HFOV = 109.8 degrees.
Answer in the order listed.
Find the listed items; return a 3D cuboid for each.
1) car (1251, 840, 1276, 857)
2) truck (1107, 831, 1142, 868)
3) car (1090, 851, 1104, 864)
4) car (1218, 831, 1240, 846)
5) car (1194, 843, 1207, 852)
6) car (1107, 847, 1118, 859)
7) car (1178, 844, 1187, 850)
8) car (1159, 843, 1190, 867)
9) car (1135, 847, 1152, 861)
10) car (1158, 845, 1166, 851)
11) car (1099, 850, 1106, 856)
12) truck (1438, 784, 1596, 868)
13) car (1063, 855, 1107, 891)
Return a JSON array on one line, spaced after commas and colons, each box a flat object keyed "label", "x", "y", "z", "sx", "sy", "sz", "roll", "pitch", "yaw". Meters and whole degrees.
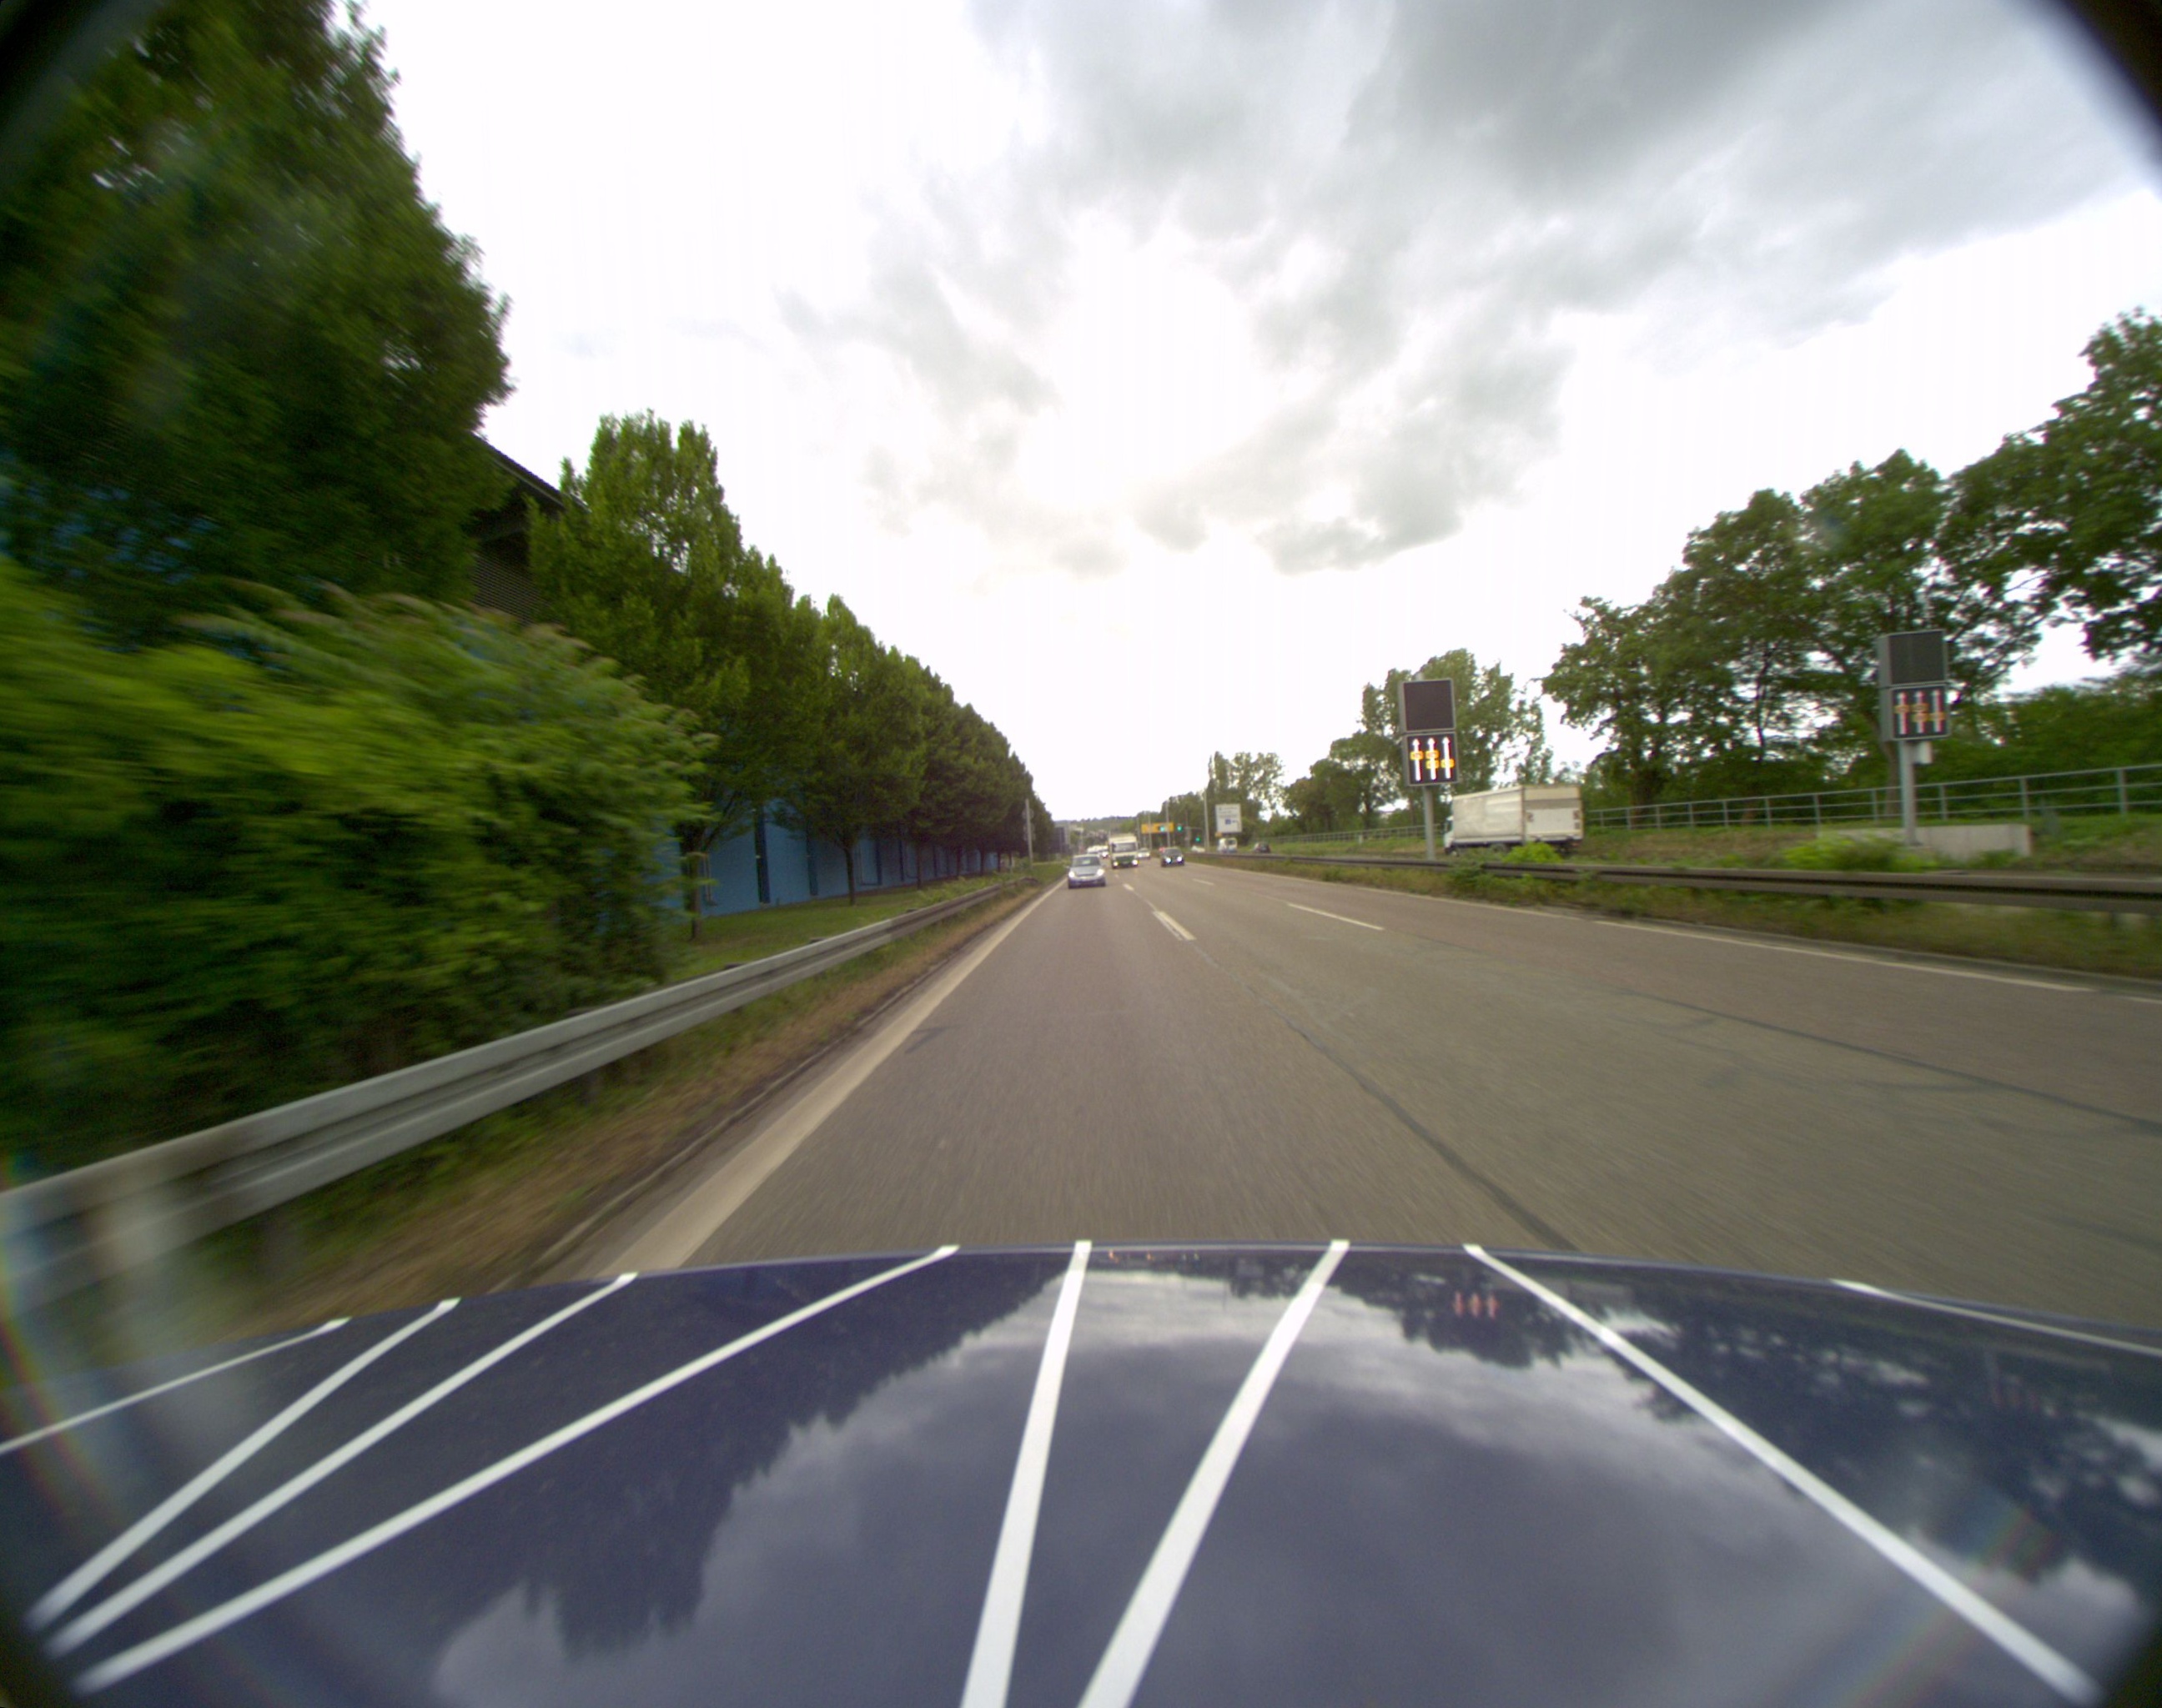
[{"label": "car", "x": 20.343, "y": -0.626, "z": 84.911, "sx": 1.883, "sy": 1.714, "sz": 4.147, "roll": -4, "pitch": 0, "yaw": 3}, {"label": "truck", "x": 4.113, "y": -0.370, "z": 74.414, "sx": 2.657, "sy": 3.121, "sz": 12.509, "roll": -4, "pitch": 0, "yaw": 1}, {"label": "car", "x": 2.313, "y": 0.549, "z": 111.321, "sx": 1.883, "sy": 1.714, "sz": 4.146, "roll": -4, "pitch": 0, "yaw": 0}, {"label": "car", "x": 21.040, "y": -2.120, "z": 107.863, "sx": 2.231, "sy": 1.936, "sz": 5.474, "roll": -4, "pitch": 0, "yaw": 3}, {"label": "car", "x": 21.115, "y": -1.140, "z": 134.720, "sx": 1.663, "sy": 1.390, "sz": 3.989, "roll": -3, "pitch": 0, "yaw": 1}, {"label": "car", "x": 6.403, "y": -0.230, "z": 156.101, "sx": 1.949, "sy": 2.176, "sz": 4.000, "roll": -4, "pitch": 0, "yaw": 0}, {"label": "car", "x": 26.626, "y": -1.773, "z": 198.737, "sx": 1.664, "sy": 1.291, "sz": 4.788, "roll": -4, "pitch": 0, "yaw": 0}, {"label": "car", "x": 7.491, "y": 0.090, "z": 61.380, "sx": 1.883, "sy": 1.714, "sz": 4.146, "roll": -4, "pitch": 0, "yaw": 0}, {"label": "car", "x": 8.334, "y": 0.023, "z": 101.415, "sx": 1.883, "sy": 1.714, "sz": 4.146, "roll": -4, "pitch": 0, "yaw": 0}, {"label": "car", "x": 21.325, "y": -1.589, "z": 199.909, "sx": 1.664, "sy": 1.291, "sz": 4.788, "roll": -4, "pitch": 0, "yaw": 0}, {"label": "car", "x": 6.630, "y": -0.376, "z": 236.861, "sx": 1.949, "sy": 1.811, "sz": 4.000, "roll": -3, "pitch": 0, "yaw": 0}, {"label": "truck", "x": 21.535, "y": -1.277, "z": 38.383, "sx": 2.895, "sy": 3.558, "sz": 9.588, "roll": -3, "pitch": 1, "yaw": 4}, {"label": "car", "x": 0.227, "y": 0.886, "z": 37.039, "sx": 1.883, "sy": 1.530, "sz": 4.146, "roll": -4, "pitch": 0, "yaw": 1}]
